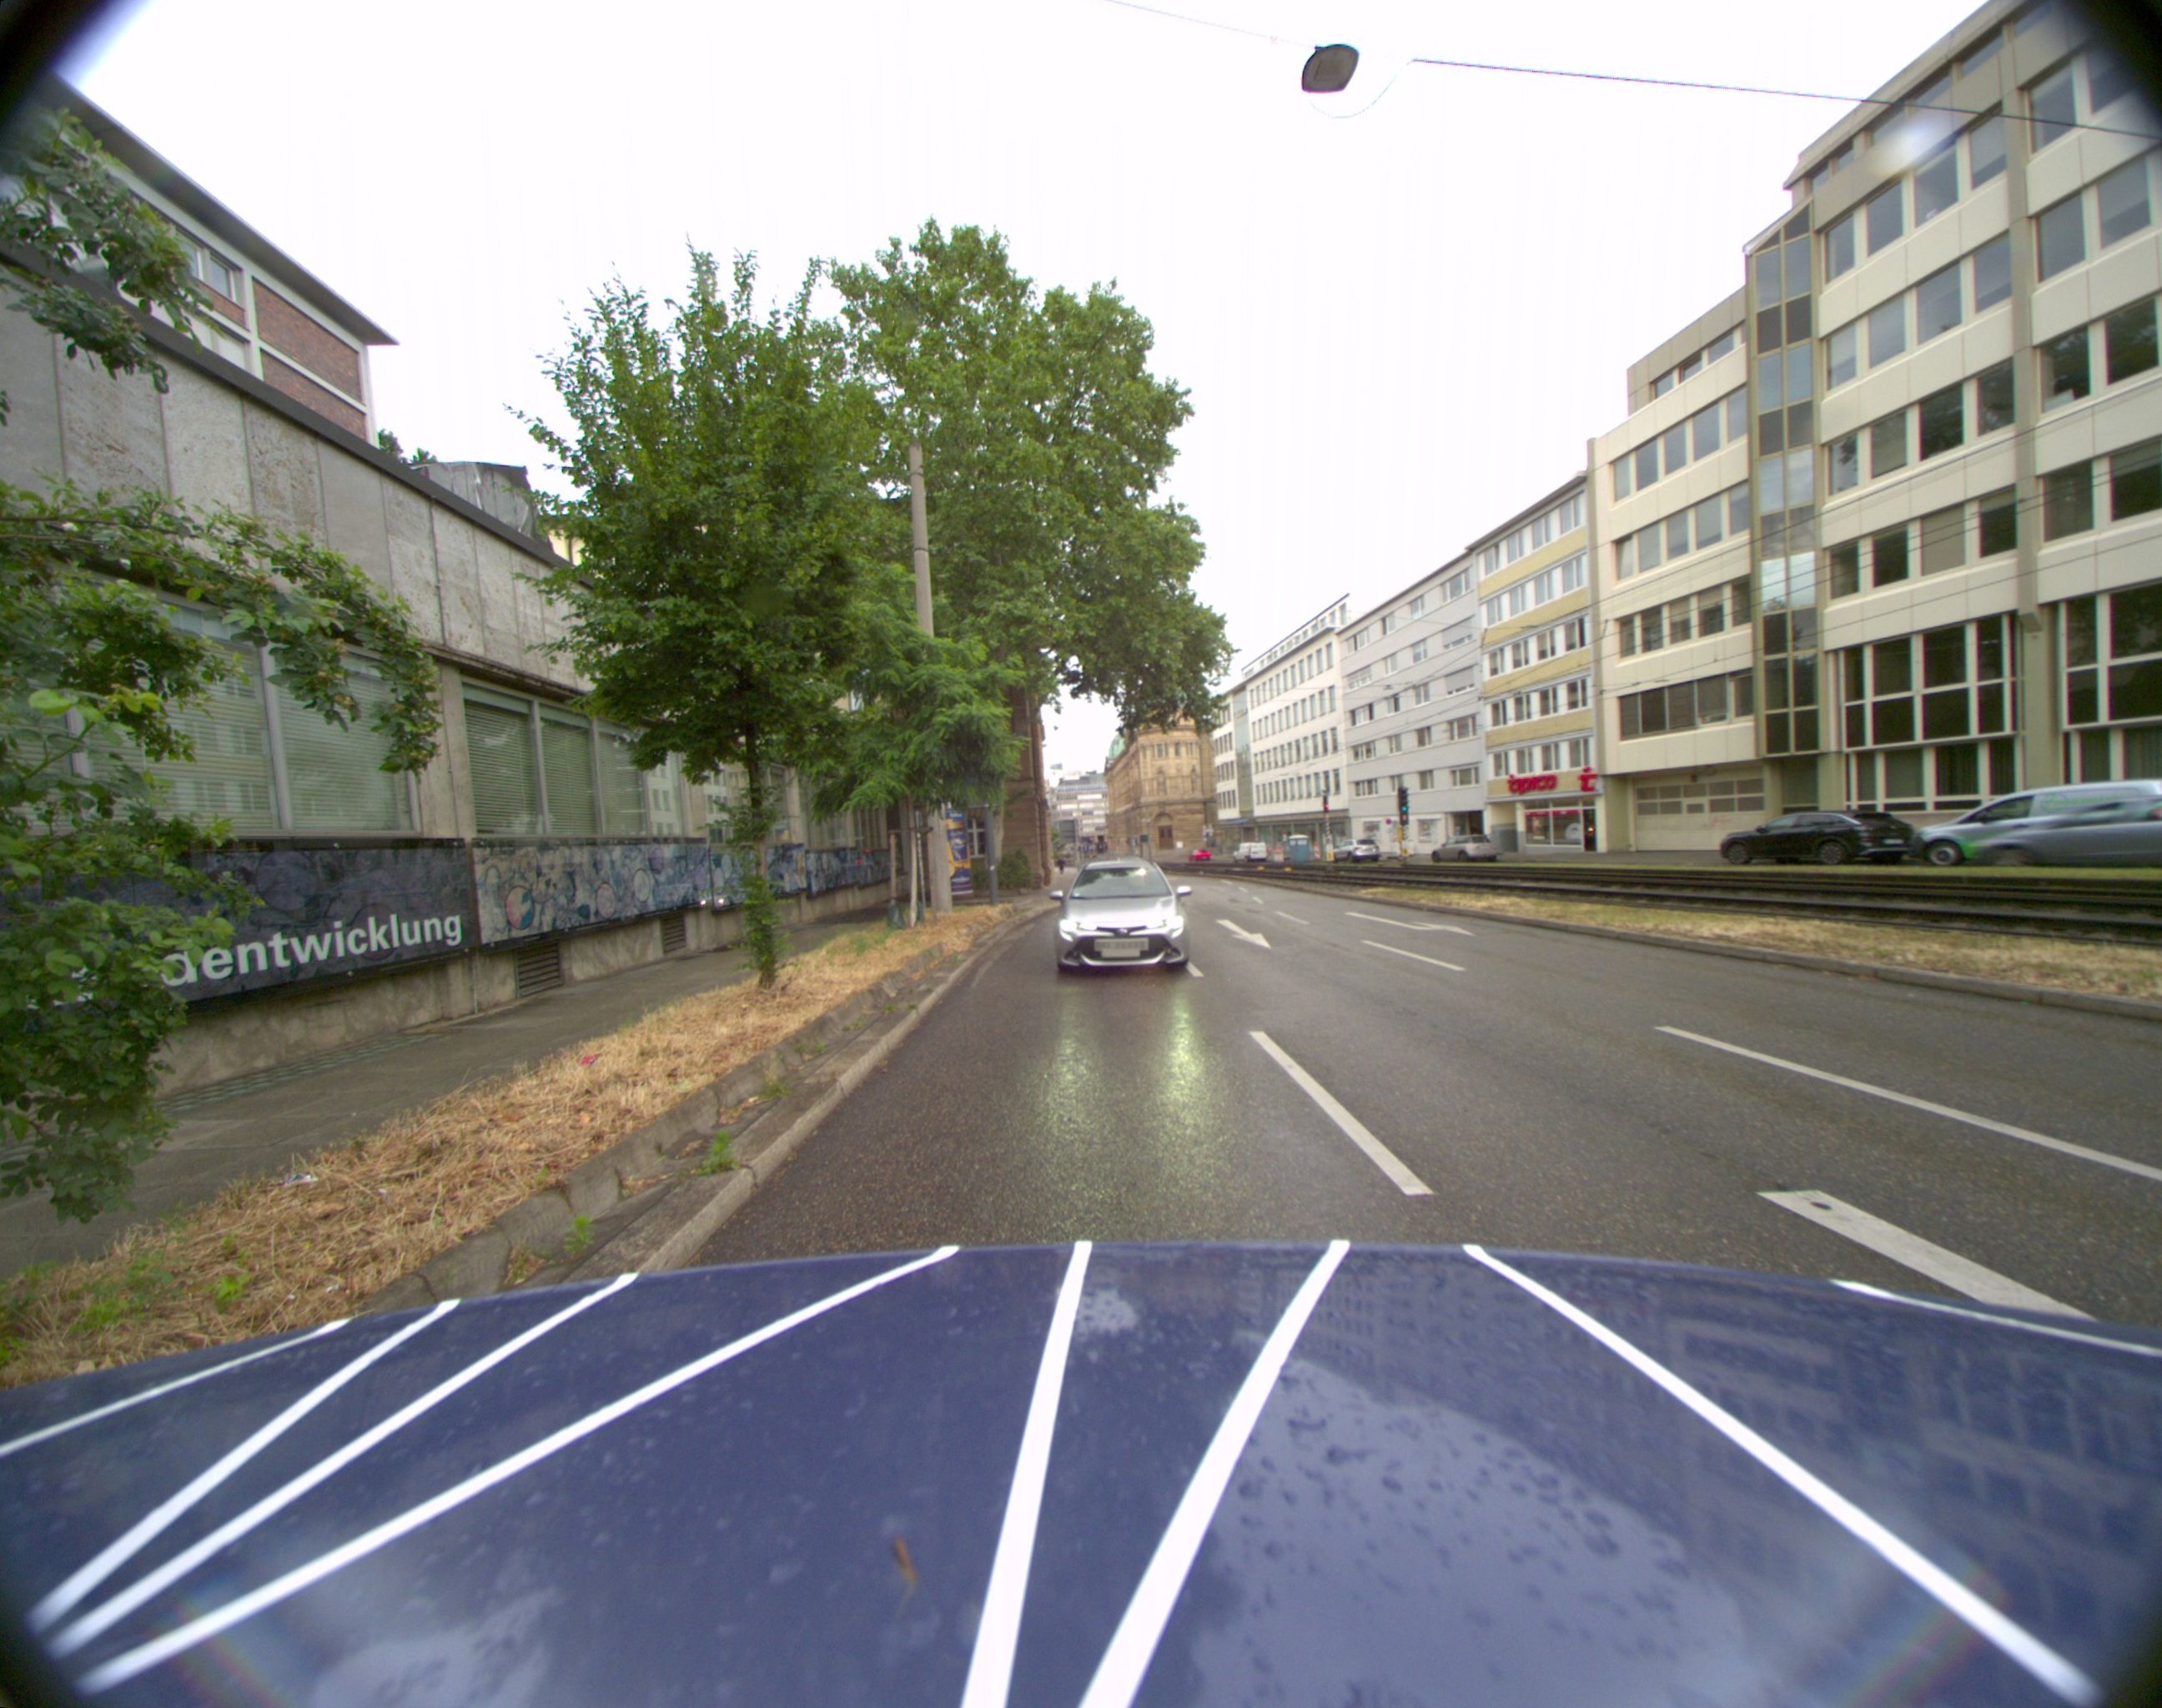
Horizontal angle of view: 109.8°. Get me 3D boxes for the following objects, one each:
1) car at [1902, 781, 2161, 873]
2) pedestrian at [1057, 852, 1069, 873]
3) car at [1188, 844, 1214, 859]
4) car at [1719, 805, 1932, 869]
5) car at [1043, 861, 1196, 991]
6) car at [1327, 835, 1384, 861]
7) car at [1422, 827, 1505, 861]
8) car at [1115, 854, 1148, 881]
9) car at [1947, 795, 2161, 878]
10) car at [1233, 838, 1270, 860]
[{"bbox_3d":[21.498,-0.575,16.809,1.801,1.736,4.213,-5,1,-8],"label":"car"},{"bbox_3d":[-1.485,0.719,61.904,0.719,1.630,0.760,-5,2,10],"label":"pedestrian"},{"bbox_3d":[14.530,-0.350,92.108,1.890,1.615,4.474,-5,1,-7],"label":"car"},{"bbox_3d":[21.059,-0.459,21.771,1.801,1.505,4.075,-5,1,-7],"label":"car"},{"bbox_3d":[0.485,0.896,11.374,1.811,1.426,4.297,-2,1,0],"label":"car"},{"bbox_3d":[18.156,-0.408,50.450,1.890,1.505,4.075,-5,1,-7],"label":"car"},{"bbox_3d":[19.482,-0.486,38.906,1.801,1.505,4.075,-5,1,-7],"label":"car"},{"bbox_3d":[2.870,0.739,43.519,1.654,1.426,3.439,-2,1,0],"label":"car"},{"bbox_3d":[18.784,-0.339,13.723,1.632,1.349,3.869,-4,1,-6],"label":"car"},{"bbox_3d":[16.311,-0.487,72.953,1.890,1.924,4.474,-5,1,-7],"label":"car"}]
